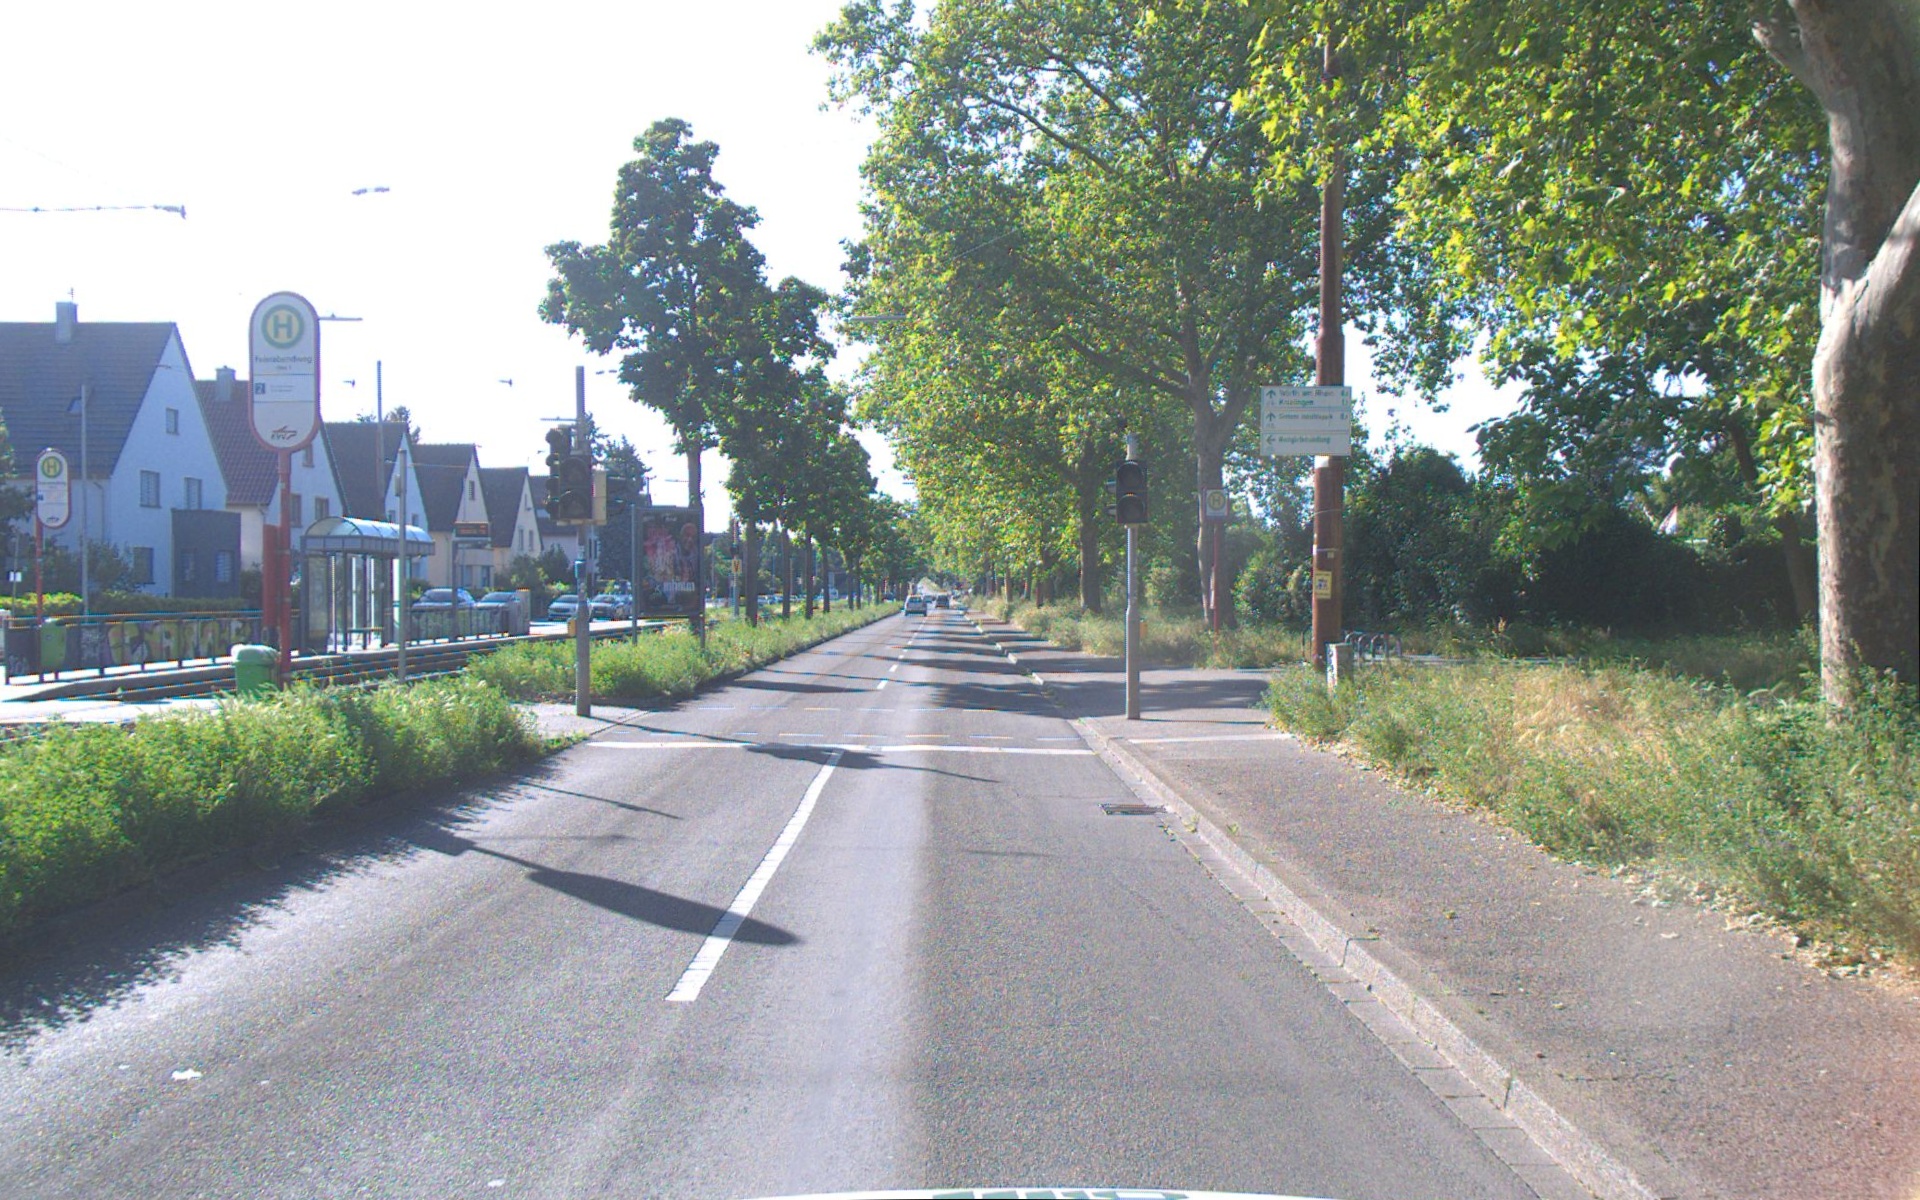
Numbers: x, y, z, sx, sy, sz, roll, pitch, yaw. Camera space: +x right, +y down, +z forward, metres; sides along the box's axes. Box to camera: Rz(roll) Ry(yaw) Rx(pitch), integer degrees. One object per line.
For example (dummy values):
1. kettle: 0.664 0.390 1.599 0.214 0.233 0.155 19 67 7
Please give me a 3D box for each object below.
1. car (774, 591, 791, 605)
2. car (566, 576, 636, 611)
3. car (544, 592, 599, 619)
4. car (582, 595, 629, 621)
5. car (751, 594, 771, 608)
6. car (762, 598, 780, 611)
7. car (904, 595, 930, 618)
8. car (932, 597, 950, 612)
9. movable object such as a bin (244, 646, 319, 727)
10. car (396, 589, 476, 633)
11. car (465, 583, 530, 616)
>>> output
1. car: -22.577 -0.254 210.503 1.712 1.679 4.554 1 0 -1
2. car: -27.688 -0.528 127.577 4.926 2.671 2.102 0 1 -1
3. car: -21.738 0.314 92.723 1.952 1.451 4.410 1 0 1
4. car: -21.763 0.482 101.603 1.953 1.475 4.127 3 0 -1
5. car: -22.867 0.153 190.284 1.822 1.569 4.227 1 0 -1
6. car: -22.756 0.563 199.473 1.694 1.491 4.601 1 0 -1
7. car: -3.113 0.459 119.808 1.822 1.629 4.227 1 0 -1
8. car: -2.223 0.486 191.176 1.953 1.631 4.472 1 0 -1
9. movable object such as a bin: -5.186 0.659 12.650 0.378 0.593 0.379 1 0 8
10. car: -21.893 0.446 69.226 1.953 1.743 4.390 1 0 -1
11. car: -22.012 -0.016 78.845 1.887 1.521 4.255 1 0 -1
